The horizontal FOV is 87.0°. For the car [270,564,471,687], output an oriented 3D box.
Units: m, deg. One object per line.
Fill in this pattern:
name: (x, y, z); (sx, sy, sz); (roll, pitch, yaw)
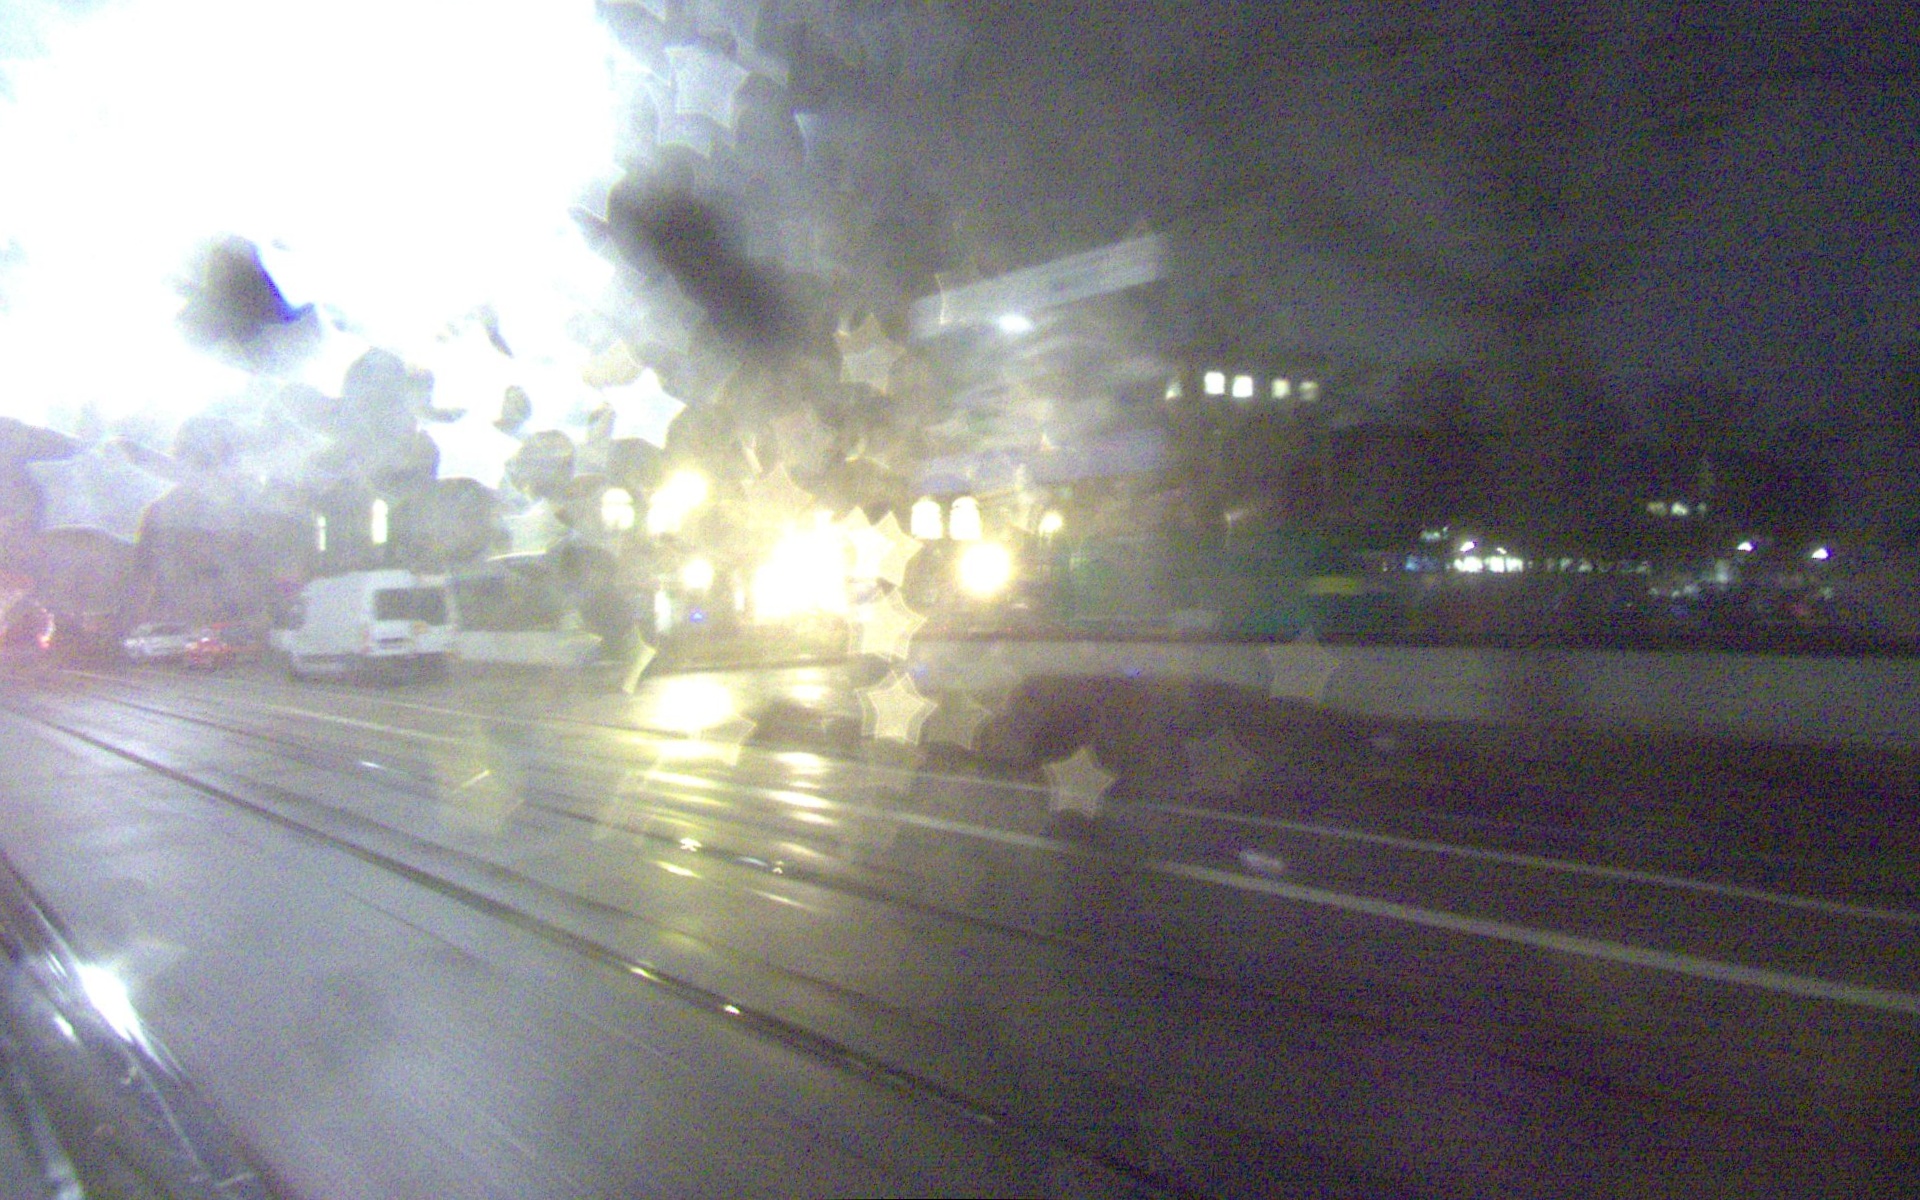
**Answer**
car: (-13.785, 0.535, 23.543); (5.254, 2.527, 2.221); (-1, 2, 38)

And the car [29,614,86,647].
car: (-45.429, 1.497, 50.921); (3.916, 1.586, 1.671); (-1, 0, 41)

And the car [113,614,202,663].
car: (-29.456, 1.367, 37.106); (3.661, 1.593, 1.823); (-1, 2, 40)

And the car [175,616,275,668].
car: (-22.897, 1.260, 31.501); (3.387, 1.418, 1.699); (-1, 2, 40)
